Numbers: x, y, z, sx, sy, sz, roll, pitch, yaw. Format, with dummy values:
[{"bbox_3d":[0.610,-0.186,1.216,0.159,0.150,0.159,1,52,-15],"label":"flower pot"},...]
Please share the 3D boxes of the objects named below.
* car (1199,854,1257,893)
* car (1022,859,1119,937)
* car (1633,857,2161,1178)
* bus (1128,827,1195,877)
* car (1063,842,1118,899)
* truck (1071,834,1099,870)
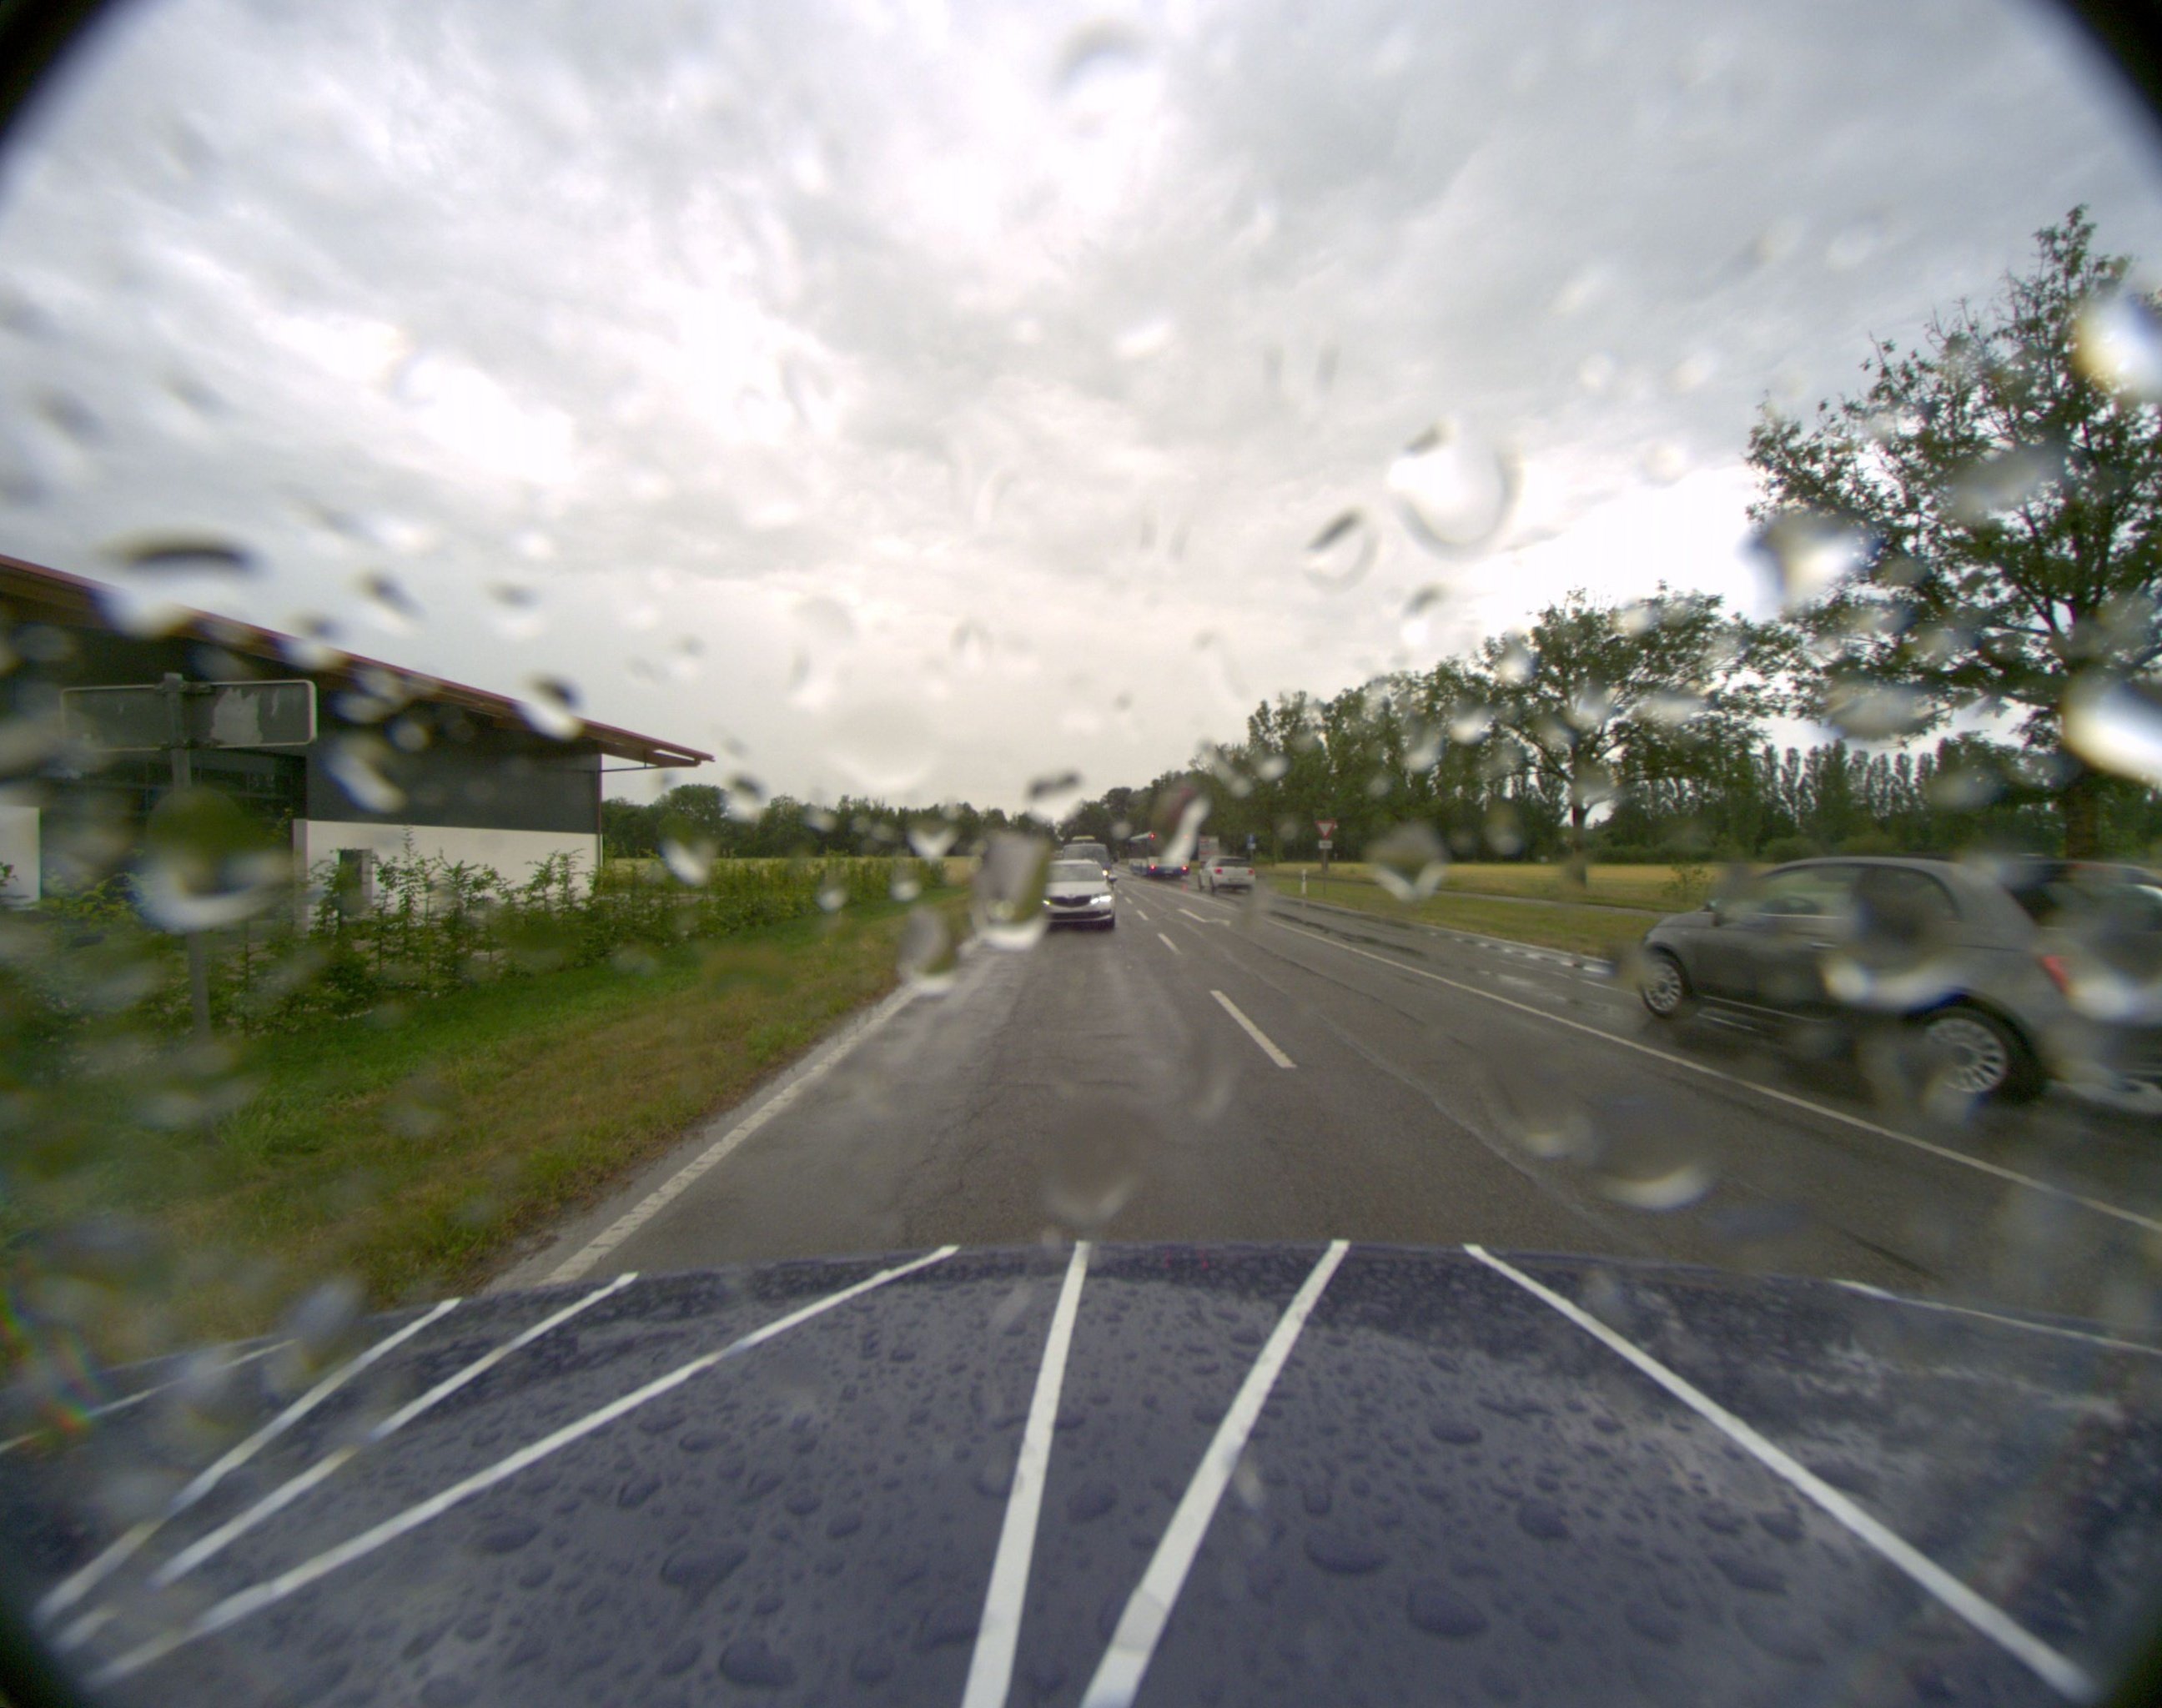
[{"bbox_3d":[5.894,0.737,30.853,1.672,1.442,3.461,2,0,0],"label":"car"},{"bbox_3d":[-0.200,0.872,17.121,1.843,1.379,4.568,-2,1,0],"label":"car"},{"bbox_3d":[5.832,0.824,5.338,1.504,1.521,3.301,2,1,1],"label":"car"},{"bbox_3d":[5.147,-0.178,50.888,2.958,2.895,12.472,1,1,-1],"label":"bus"},{"bbox_3d":[0.326,0.554,27.937,1.893,1.939,3.999,0,1,0],"label":"car"},{"bbox_3d":[0.486,-0.272,88.002,2.931,3.828,14.119,0,0,0],"label":"truck"}]
